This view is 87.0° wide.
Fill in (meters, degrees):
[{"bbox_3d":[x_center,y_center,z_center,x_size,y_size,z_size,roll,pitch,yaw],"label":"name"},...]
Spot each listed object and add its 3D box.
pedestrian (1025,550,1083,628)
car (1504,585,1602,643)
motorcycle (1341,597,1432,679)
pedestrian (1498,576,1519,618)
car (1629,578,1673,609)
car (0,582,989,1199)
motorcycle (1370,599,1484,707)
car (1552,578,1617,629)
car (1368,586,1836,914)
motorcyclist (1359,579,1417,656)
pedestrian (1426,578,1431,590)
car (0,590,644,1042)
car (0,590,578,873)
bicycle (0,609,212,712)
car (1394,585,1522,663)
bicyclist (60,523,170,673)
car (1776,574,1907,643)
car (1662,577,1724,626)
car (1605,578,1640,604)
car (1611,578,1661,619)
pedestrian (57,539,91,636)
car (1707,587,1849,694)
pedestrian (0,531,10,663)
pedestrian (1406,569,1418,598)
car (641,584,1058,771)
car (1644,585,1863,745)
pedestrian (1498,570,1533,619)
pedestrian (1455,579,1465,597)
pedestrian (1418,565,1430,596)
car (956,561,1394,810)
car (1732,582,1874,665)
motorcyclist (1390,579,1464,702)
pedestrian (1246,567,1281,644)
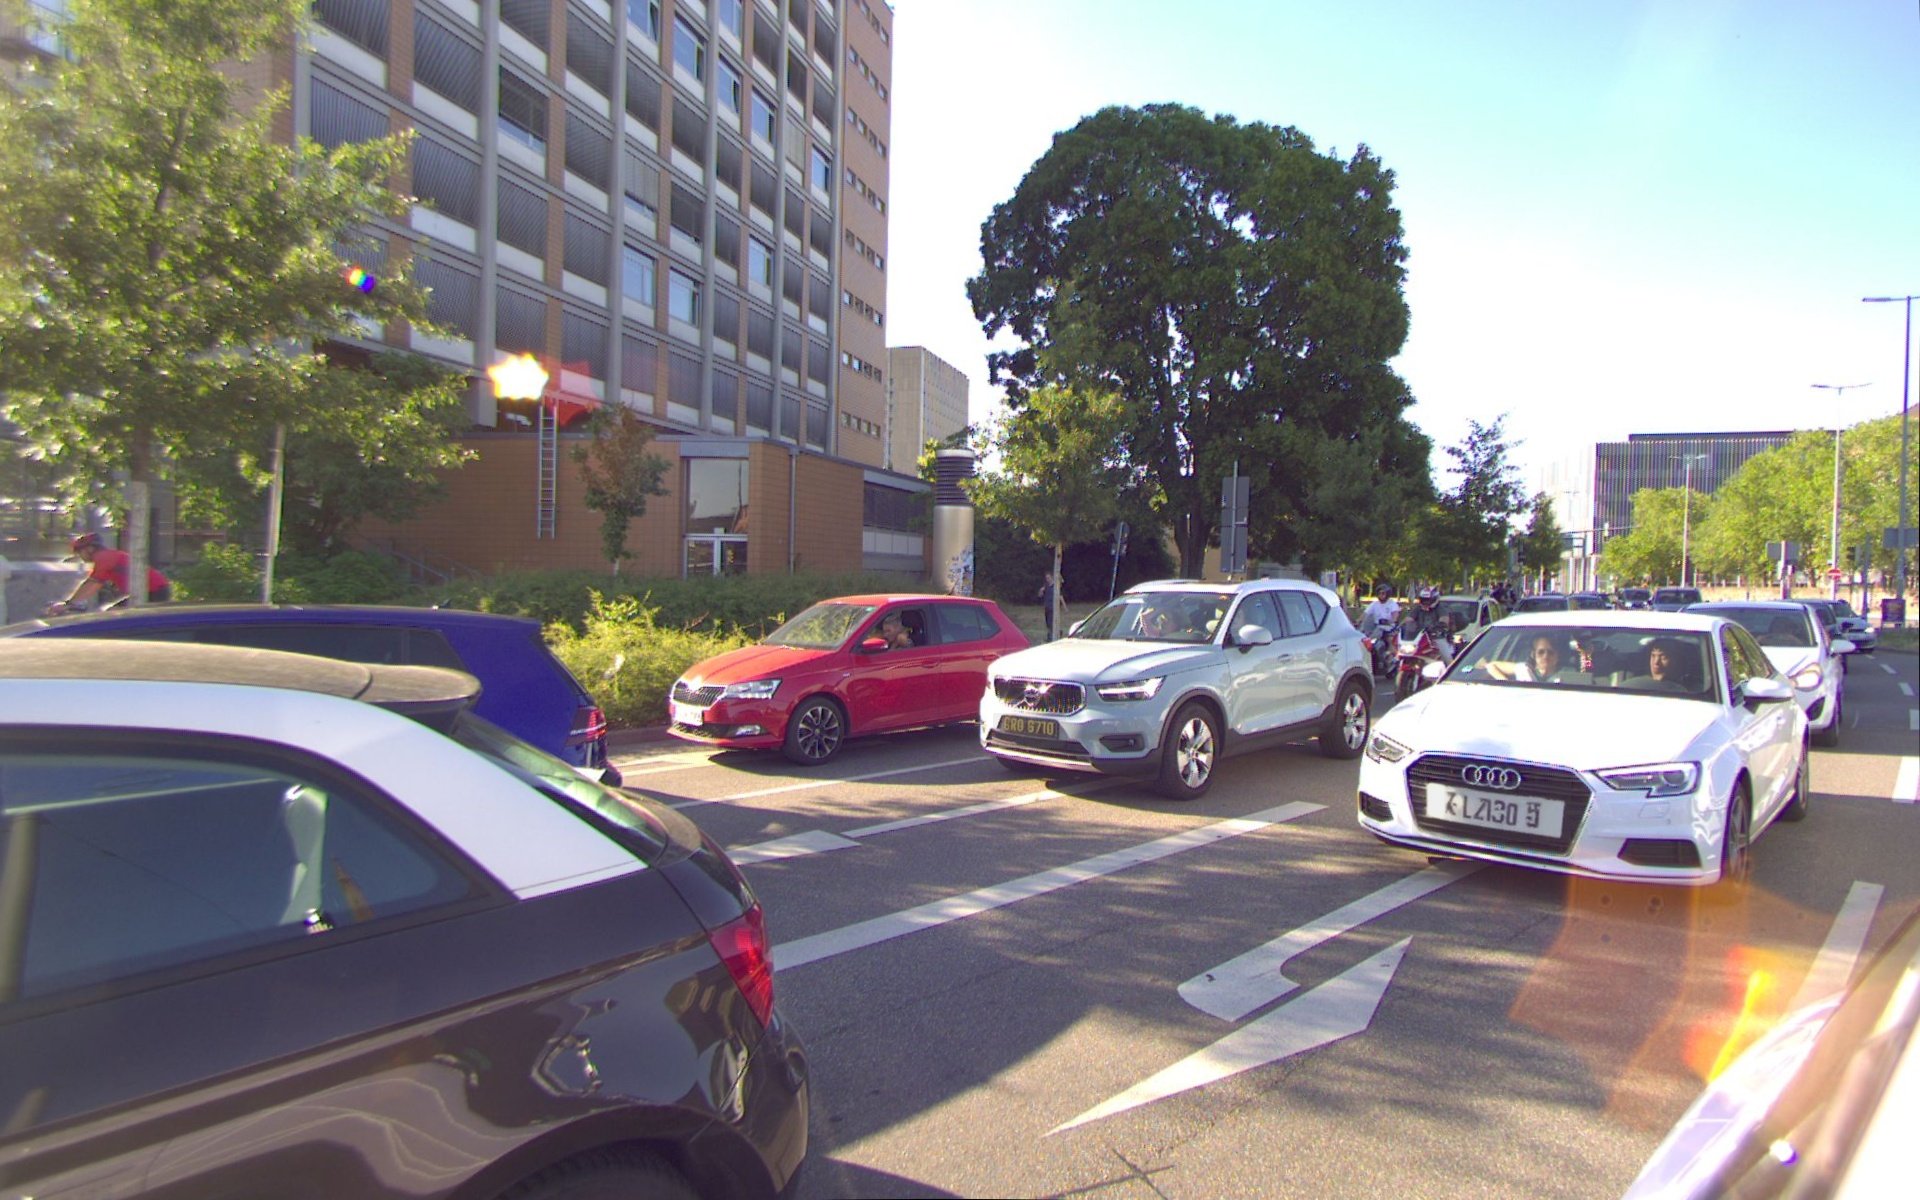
[{"bbox_3d":[2.157,-0.248,23.147,1.005,1.742,0.873,0,0,39],"label":"pedestrian"},{"bbox_3d":[17.707,0.368,30.145,1.740,1.564,3.940,2,2,42],"label":"car"},{"bbox_3d":[7.491,0.628,17.731,0.716,1.321,2.199,0,1,44],"label":"motorcycle"},{"bbox_3d":[21.399,-0.130,39.462,0.593,1.615,0.586,0,0,41],"label":"pedestrian"},{"bbox_3d":[43.097,-0.422,63.175,1.863,1.838,3.960,2,2,29],"label":"car"},{"bbox_3d":[-1.951,0.709,1.313,3.931,1.422,1.626,-1,1,-41],"label":"car"},{"bbox_3d":[6.391,0.669,13.789,0.716,1.321,2.199,0,1,44],"label":"motorcycle"},{"bbox_3d":[23.895,0.089,38.667,1.867,1.838,3.950,2,2,35],"label":"car"},{"bbox_3d":[4.210,0.642,6.381,3.770,1.422,1.625,-1,1,-43],"label":"car"},{"bbox_3d":[7.547,0.296,17.837,0.716,1.321,0.724,0,0,45],"label":"motorcyclist"},{"bbox_3d":[60.538,-2.058,130.850,0.477,1.504,0.409,0,1,-41],"label":"pedestrian"},{"bbox_3d":[-3.464,0.697,3.976,3.931,1.422,1.626,-1,1,-41],"label":"car"},{"bbox_3d":[-4.940,0.676,6.378,4.434,1.422,1.725,-1,1,-42],"label":"car"},{"bbox_3d":[-9.390,0.627,10.990,1.997,0.975,0.660,-1,3,-35],"label":"bicycle"},{"bbox_3d":[11.219,0.465,22.673,1.738,1.543,3.944,2,2,39],"label":"car"},{"bbox_3d":[-9.252,-0.031,11.113,0.855,1.580,0.617,-1,0,-35],"label":"bicyclist"},{"bbox_3d":[23.980,0.164,27.690,1.729,1.727,3.963,2,2,27],"label":"car"},{"bbox_3d":[29.289,0.011,40.551,1.867,1.838,3.950,2,2,35],"label":"car"},{"bbox_3d":[50.362,-0.715,76.996,1.863,1.838,3.960,2,2,29],"label":"car"},{"bbox_3d":[32.453,-0.116,48.558,1.867,1.838,3.950,2,2,35],"label":"car"},{"bbox_3d":[-16.361,-0.232,18.687,0.441,1.754,0.372,0,0,35],"label":"pedestrian"},{"bbox_3d":[13.341,0.558,16.416,1.622,1.478,3.981,0,1,41],"label":"car"},{"bbox_3d":[-12.611,-0.050,12.975,0.592,1.660,0.678,-1,4,-43],"label":"pedestrian"},{"bbox_3d":[24.157,-0.900,54.091,0.543,1.549,0.598,0,0,30],"label":"pedestrian"},{"bbox_3d":[-0.940,0.597,10.087,3.975,1.478,1.625,-1,1,-43],"label":"car"},{"bbox_3d":[9.120,0.586,11.505,1.623,1.478,3.979,0,1,43],"label":"car"},{"bbox_3d":[23.881,-0.246,43.485,1.137,2.039,1.269,0,0,38],"label":"pedestrian"},{"bbox_3d":[57.301,-1.380,115.906,0.828,2.039,1.061,-1,0,18],"label":"pedestrian"},{"bbox_3d":[24.668,-1.032,53.784,0.543,1.627,0.598,0,0,30],"label":"pedestrian"},{"bbox_3d":[2.030,0.524,8.713,4.154,1.641,1.625,-1,1,-44],"label":"car"},{"bbox_3d":[17.900,0.416,21.680,1.733,1.564,3.956,2,2,31],"label":"car"},{"bbox_3d":[6.327,0.521,13.712,0.709,1.610,0.679,0,0,45],"label":"motorcyclist"},{"bbox_3d":[7.577,0.128,25.242,0.681,1.910,0.465,-1,0,-24],"label":"pedestrian"}]
